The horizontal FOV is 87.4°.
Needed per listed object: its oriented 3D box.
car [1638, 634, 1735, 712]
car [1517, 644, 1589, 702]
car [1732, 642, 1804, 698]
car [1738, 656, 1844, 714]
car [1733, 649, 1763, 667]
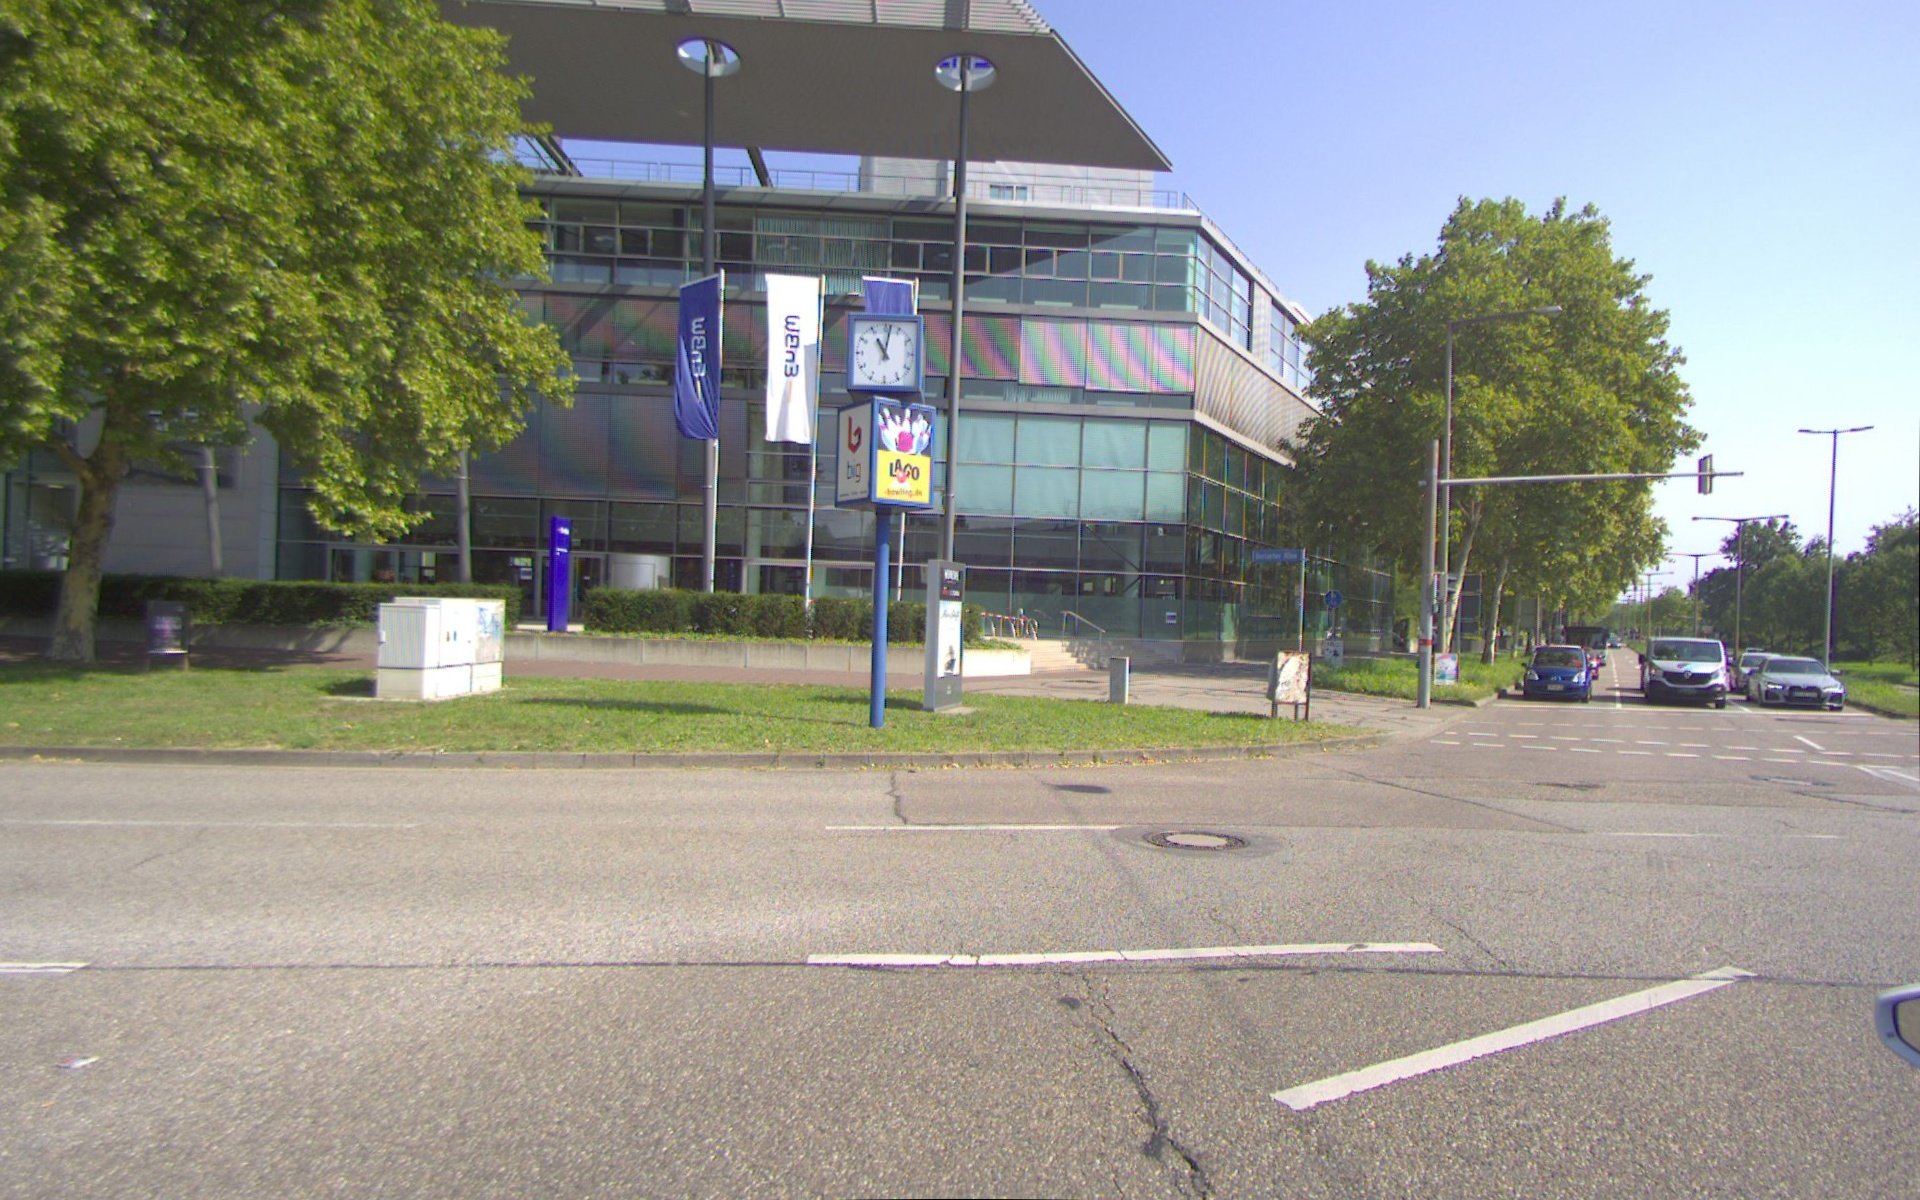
[{"bbox_3d":[21.510,2.066,29.911,1.900,1.984,5.201,2,0,32],"label":"car"},{"bbox_3d":[17.916,2.150,30.295,1.645,1.555,3.719,0,-2,34],"label":"car"},{"bbox_3d":[28.698,2.423,35.769,1.592,1.556,4.088,-1,2,33],"label":"car"},{"bbox_3d":[24.468,2.443,29.740,1.809,1.462,4.595,0,-2,32],"label":"car"},{"bbox_3d":[77.783,5.724,99.183,1.965,1.676,3.991,1,-2,32],"label":"car"}]
